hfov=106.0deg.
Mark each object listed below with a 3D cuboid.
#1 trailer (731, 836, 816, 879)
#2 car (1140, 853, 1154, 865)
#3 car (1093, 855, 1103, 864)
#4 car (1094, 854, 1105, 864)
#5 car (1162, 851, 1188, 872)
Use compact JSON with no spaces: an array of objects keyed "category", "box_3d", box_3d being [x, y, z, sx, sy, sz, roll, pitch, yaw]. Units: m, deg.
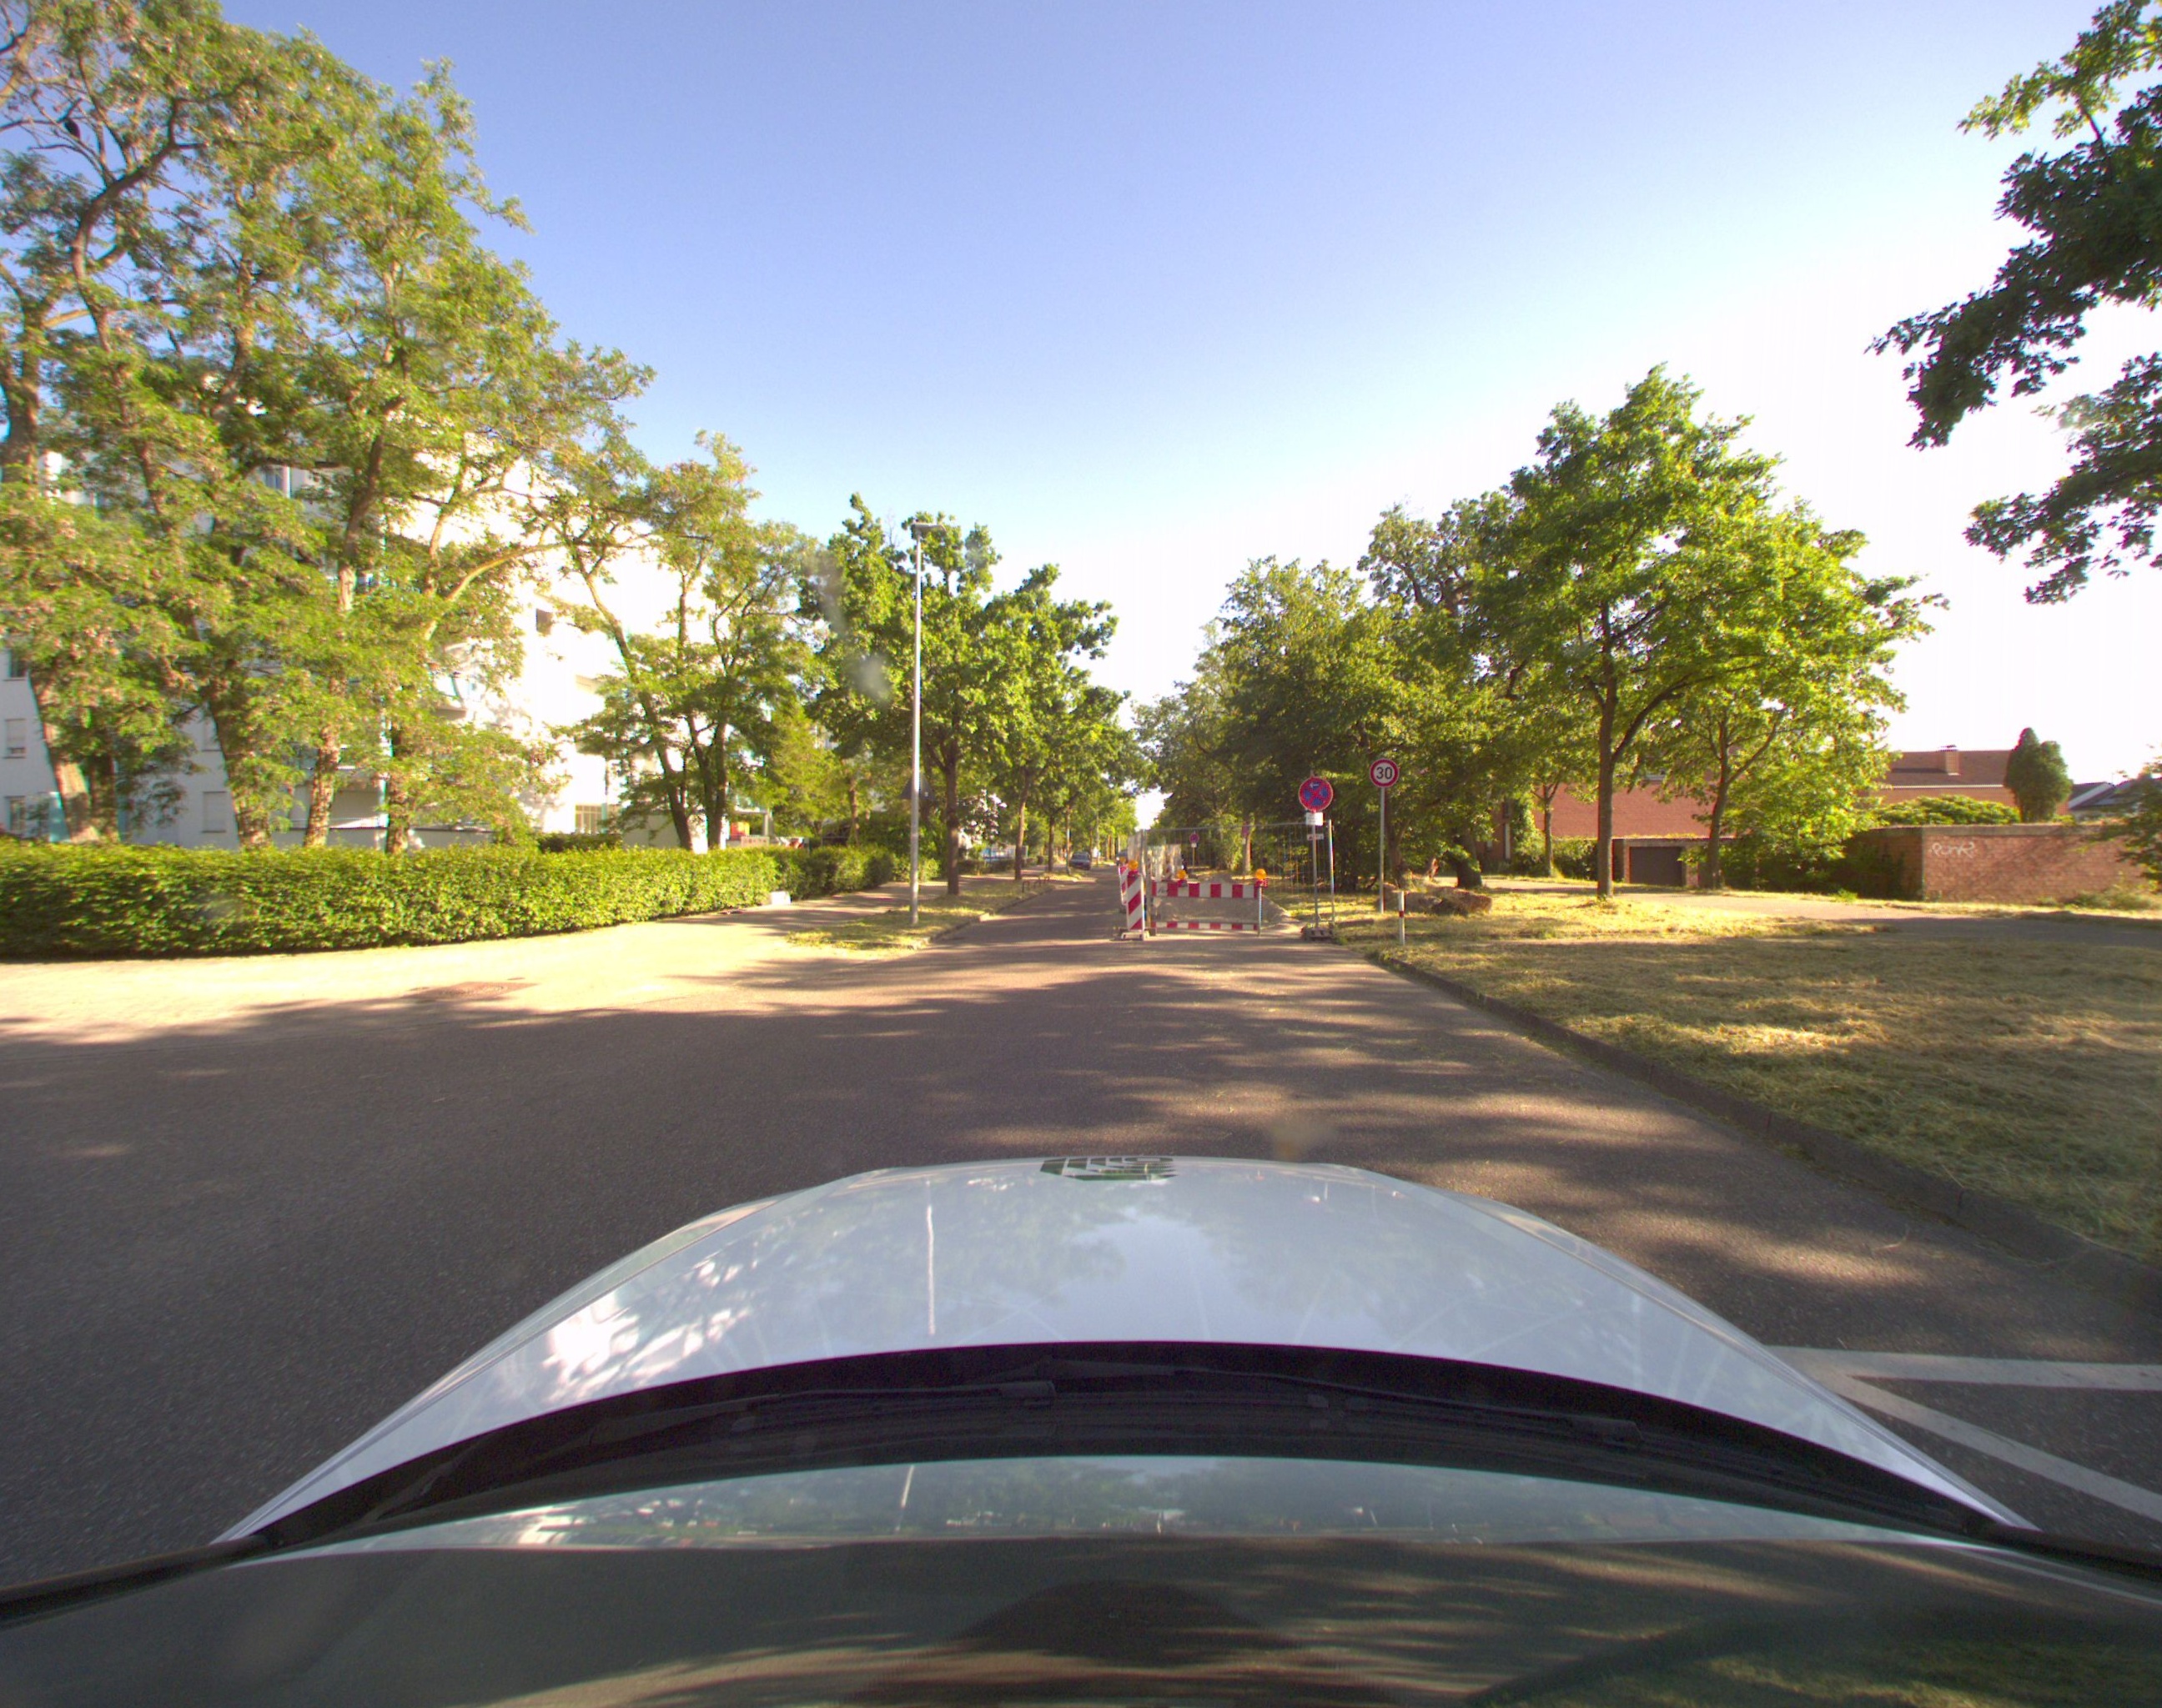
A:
[{"category":"trailer","box_3d":[-15.489,0.173,41.261,1.964,2.042,4.443,0,0,11]},{"category":"car","box_3d":[7.422,0.593,92.049,1.356,1.302,3.483,1,-1,2]},{"category":"car","box_3d":[2.448,0.792,116.703,1.356,1.302,3.483,1,-1,2]},{"category":"car","box_3d":[2.395,0.661,104.943,1.356,1.302,3.483,1,-1,2]},{"category":"car","box_3d":[7.312,0.535,63.672,1.746,1.595,3.660,0,0,3]}]
